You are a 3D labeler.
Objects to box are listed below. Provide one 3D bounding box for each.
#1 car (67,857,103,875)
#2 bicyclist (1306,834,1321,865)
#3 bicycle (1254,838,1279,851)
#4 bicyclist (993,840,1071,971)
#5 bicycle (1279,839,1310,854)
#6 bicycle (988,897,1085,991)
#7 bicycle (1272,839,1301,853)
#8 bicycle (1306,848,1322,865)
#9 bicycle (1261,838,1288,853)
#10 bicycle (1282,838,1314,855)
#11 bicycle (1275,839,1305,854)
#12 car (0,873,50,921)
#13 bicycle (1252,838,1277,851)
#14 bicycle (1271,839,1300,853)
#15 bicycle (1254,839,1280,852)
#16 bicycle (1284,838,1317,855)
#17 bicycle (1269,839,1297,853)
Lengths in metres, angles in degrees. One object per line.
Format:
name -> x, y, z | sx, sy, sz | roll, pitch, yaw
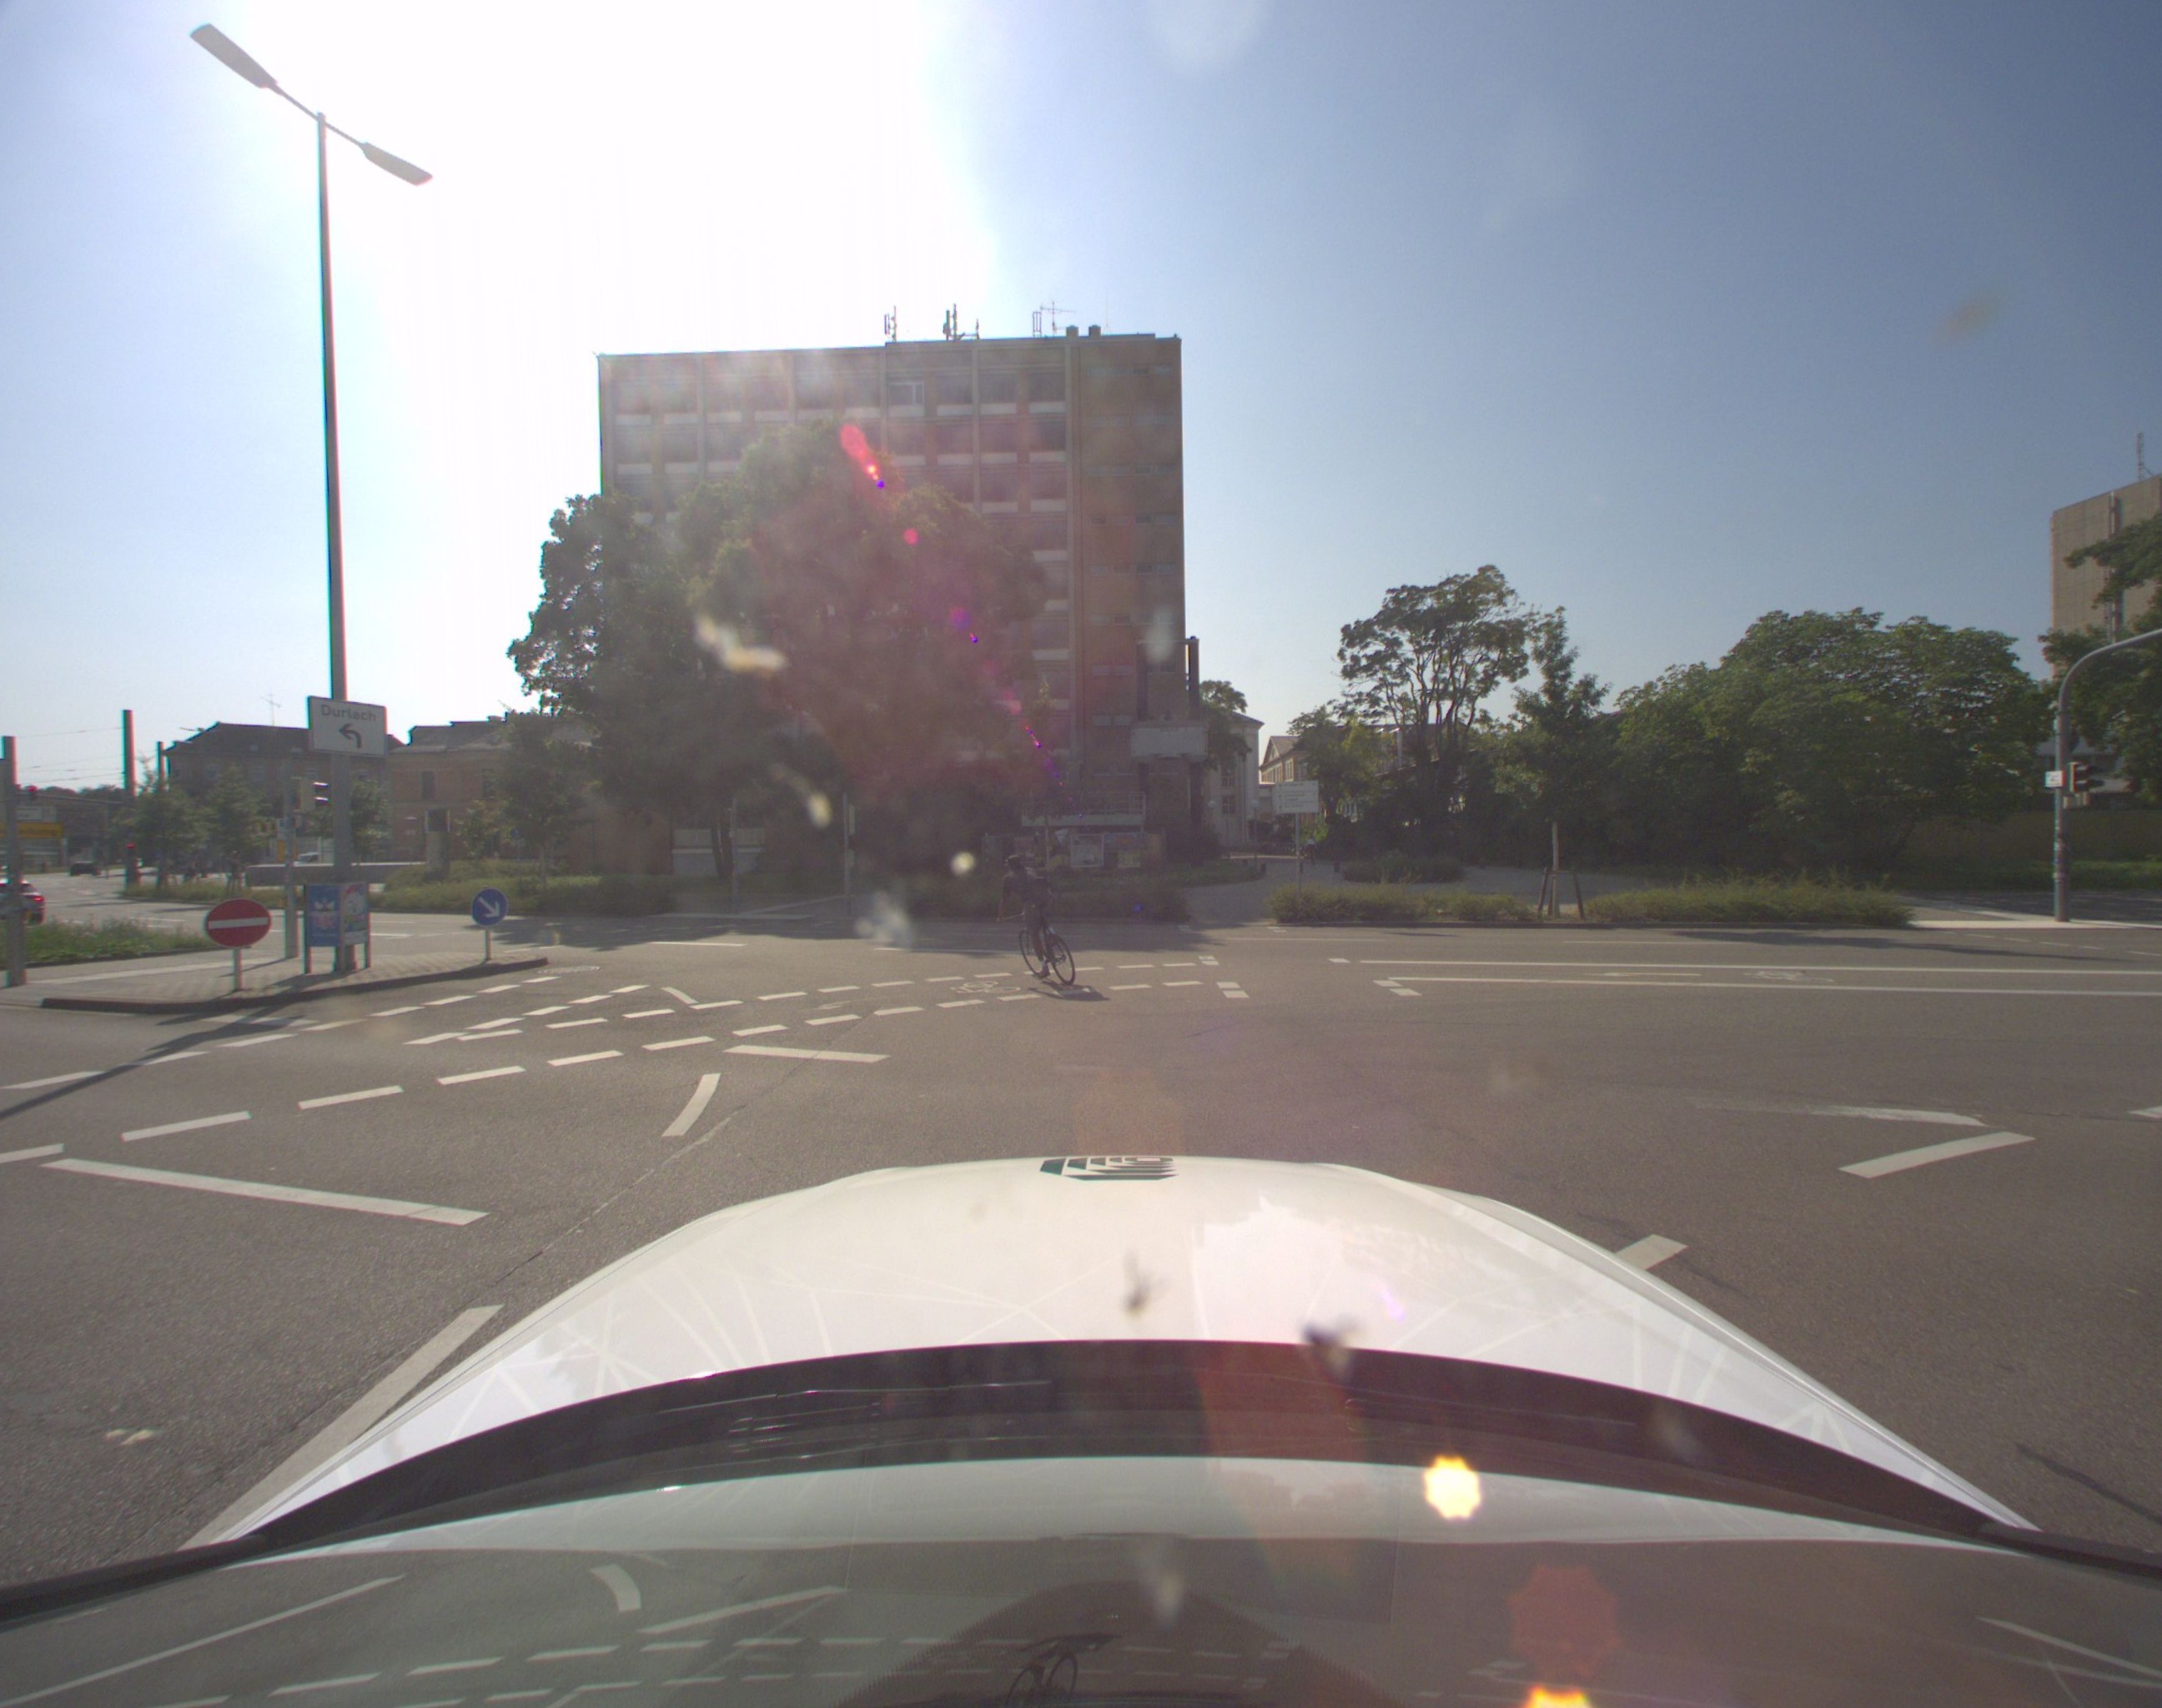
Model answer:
car -> -120.033, 1.428, 98.187 | 4.718, 2.013, 2.435 | 0, 1, 43
bicyclist -> 12.086, -0.234, 42.346 | 0.646, 1.601, 0.923 | -1, 1, 11
bicycle -> 18.843, -0.972, 82.635 | 2.413, 1.262, 0.722 | 1, 1, 7
bicyclist -> -0.651, 0.629, 10.510 | 0.773, 1.578, 0.985 | -1, -1, -16
bicycle -> 17.821, -0.628, 67.944 | 2.413, 1.223, 0.722 | 1, 1, 7
bicycle -> -0.627, 1.094, 10.505 | 0.773, 0.976, 2.138 | -1, 0, -16
bicycle -> 18.186, -0.704, 72.005 | 2.413, 1.239, 0.722 | 1, 1, 7
bicycle -> 12.110, 0.123, 42.351 | 0.669, 0.879, 1.405 | -1, 1, 11
bicycle -> 18.004, -0.801, 75.794 | 2.413, 1.282, 0.722 | 1, 1, 7
bicycle -> 17.450, -0.628, 65.421 | 2.413, 1.318, 0.722 | 1, 1, 7
bicycle -> 18.255, -0.683, 71.110 | 2.413, 1.234, 0.722 | 1, 1, 7
car -> -33.729, 1.333, 25.157 | 3.588, 1.387, 1.701 | -2, 0, 28
bicycle -> 18.873, -1.011, 83.645 | 2.413, 1.280, 0.722 | 1, 1, 7
bicycle -> 18.356, -0.737, 73.045 | 2.413, 1.229, 0.722 | 1, 1, 7
bicycle -> 18.376, -0.859, 80.499 | 2.413, 1.282, 0.722 | 1, 1, 7
bicycle -> 17.308, -0.584, 64.292 | 2.413, 1.318, 0.722 | 1, 1, 7
bicycle -> 18.469, -0.738, 74.623 | 2.413, 1.282, 0.722 | 1, 1, 7
